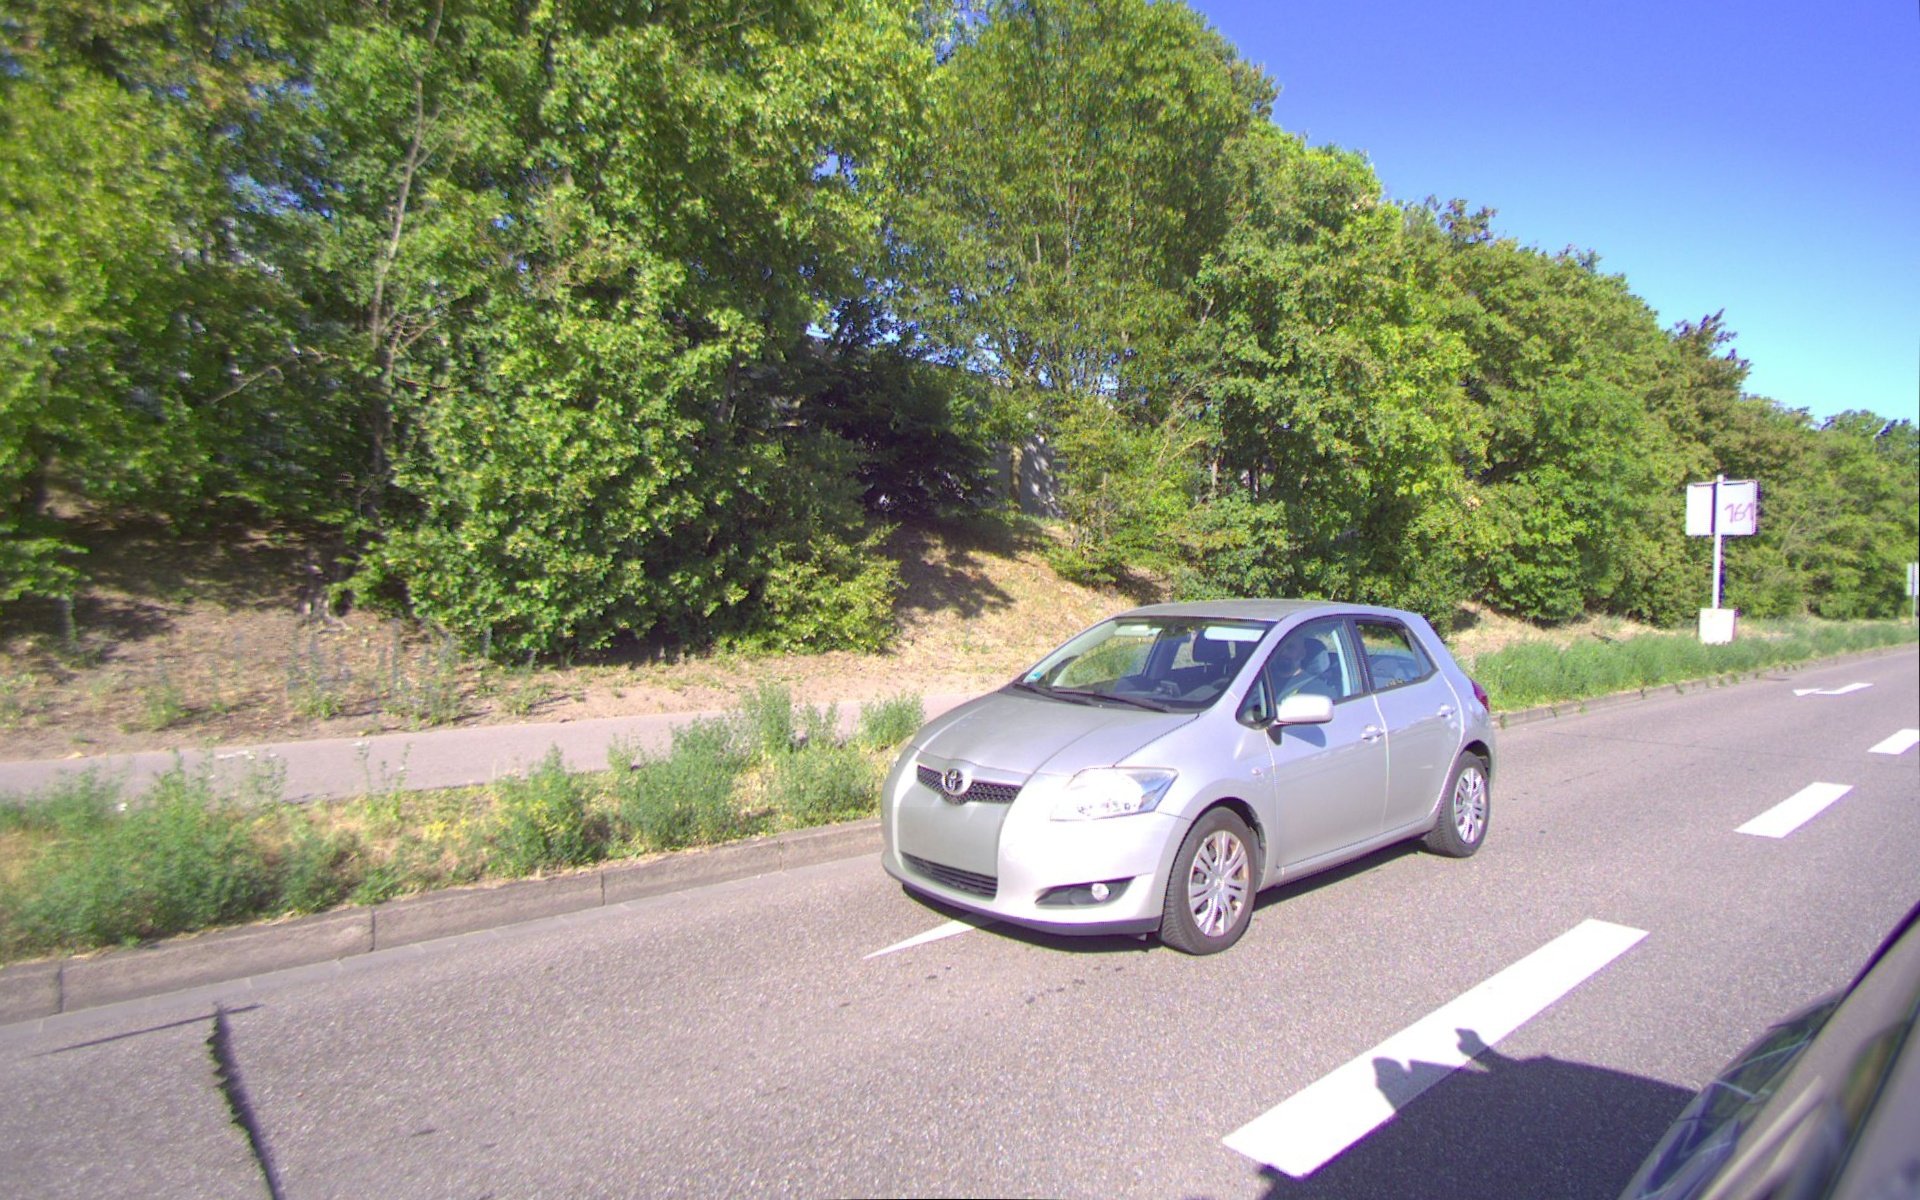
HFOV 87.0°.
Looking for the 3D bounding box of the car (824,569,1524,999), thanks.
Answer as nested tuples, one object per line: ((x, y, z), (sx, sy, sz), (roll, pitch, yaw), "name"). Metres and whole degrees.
((1.425, 0.670, 5.678), (4.036, 1.556, 1.786), (0, 0, -41), "car")
